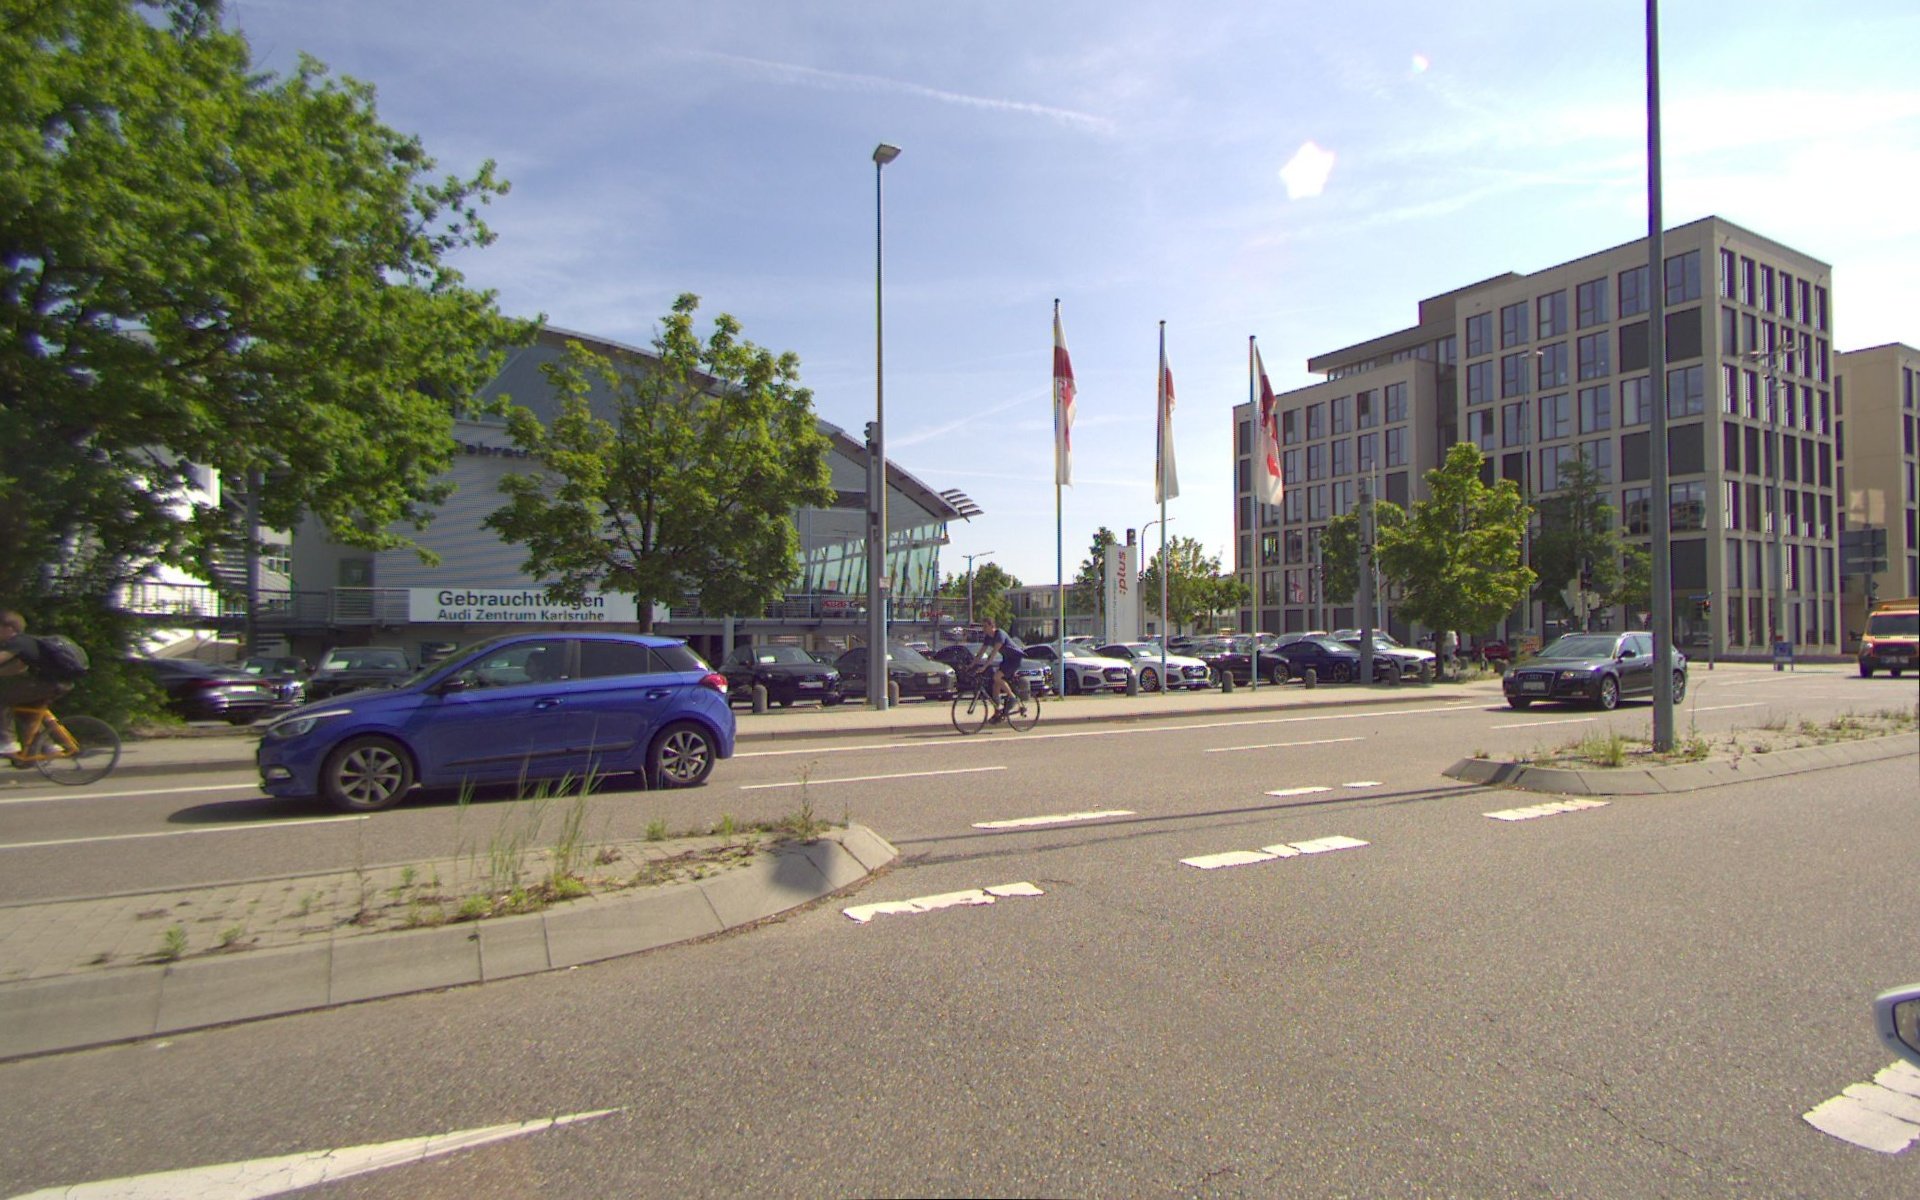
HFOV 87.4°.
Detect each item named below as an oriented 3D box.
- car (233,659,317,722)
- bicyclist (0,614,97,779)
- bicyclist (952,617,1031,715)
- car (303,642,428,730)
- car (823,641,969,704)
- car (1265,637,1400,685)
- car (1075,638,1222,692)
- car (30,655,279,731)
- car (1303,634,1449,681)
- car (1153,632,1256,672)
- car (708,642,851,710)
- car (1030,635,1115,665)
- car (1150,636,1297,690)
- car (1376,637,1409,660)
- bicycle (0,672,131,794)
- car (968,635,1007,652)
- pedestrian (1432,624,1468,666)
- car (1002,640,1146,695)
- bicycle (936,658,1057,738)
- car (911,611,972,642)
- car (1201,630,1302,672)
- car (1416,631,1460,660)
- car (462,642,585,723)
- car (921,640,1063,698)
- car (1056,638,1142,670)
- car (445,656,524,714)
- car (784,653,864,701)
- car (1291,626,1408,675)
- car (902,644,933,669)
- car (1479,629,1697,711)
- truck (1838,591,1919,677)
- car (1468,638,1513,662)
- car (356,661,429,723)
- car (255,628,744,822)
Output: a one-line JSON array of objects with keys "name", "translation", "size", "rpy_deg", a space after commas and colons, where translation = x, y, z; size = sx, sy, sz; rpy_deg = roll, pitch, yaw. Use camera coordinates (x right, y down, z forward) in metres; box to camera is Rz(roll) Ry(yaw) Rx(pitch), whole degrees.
[{"name": "car", "translation": [-18.276, 2.360, 26.929], "size": [1.671, 1.456, 3.797], "rpy_deg": [1, -2, -32]}, {"name": "bicyclist", "translation": [-9.441, 0.966, 10.194], "size": [0.899, 1.617, 0.574], "rpy_deg": [1, -3, -28]}, {"name": "bicyclist", "translation": [0.500, 1.035, 15.960], "size": [1.129, 1.502, 0.568], "rpy_deg": [1, -2, -28]}, {"name": "car", "translation": [-10.992, 1.583, 18.631], "size": [1.788, 1.420, 4.006], "rpy_deg": [1, -5, -31]}, {"name": "car", "translation": [-1.642, 1.774, 24.218], "size": [1.833, 1.352, 4.157], "rpy_deg": [1, -5, -30]}, {"name": "car", "translation": [11.893, 1.921, 32.280], "size": [1.744, 1.421, 3.815], "rpy_deg": [1, -3, -31]}, {"name": "car", "translation": [5.209, 1.864, 28.251], "size": [1.856, 1.387, 4.055], "rpy_deg": [1, -5, -30]}, {"name": "car", "translation": [-15.739, 1.803, 19.719], "size": [3.762, 1.350, 1.691], "rpy_deg": [-1, -2, 8]}, {"name": "car", "translation": [13.884, 1.901, 33.772], "size": [1.876, 1.451, 4.357], "rpy_deg": [1, -3, -28]}, {"name": "car", "translation": [11.340, 2.383, 46.443], "size": [4.722, 1.525, 1.779], "rpy_deg": [-2, -1, -31]}, {"name": "car", "translation": [-4.191, 1.734, 22.771], "size": [1.809, 1.372, 4.261], "rpy_deg": [1, -5, -31]}, {"name": "car", "translation": [6.291, 2.791, 56.040], "size": [4.506, 1.461, 1.779], "rpy_deg": [-1, -2, -31]}, {"name": "car", "translation": [8.070, 1.876, 30.723], "size": [4.373, 1.515, 1.789], "rpy_deg": [1, -2, -30]}, {"name": "car", "translation": [29.555, 3.300, 68.759], "size": [1.772, 1.533, 4.000], "rpy_deg": [-1, -2, 19]}, {"name": "bicycle", "translation": [-9.555, 1.334, 10.117], "size": [1.747, 1.165, 0.569], "rpy_deg": [1, -3, -28]}, {"name": "car", "translation": [3.162, 5.077, 116.676], "size": [4.189, 1.965, 1.885], "rpy_deg": [1, -2, -30]}, {"name": "pedestrian", "translation": [20.738, 1.894, 42.509], "size": [0.906, 1.772, 0.996], "rpy_deg": [1, -2, -30]}, {"name": "car", "translation": [2.962, 1.838, 26.923], "size": [1.846, 1.336, 3.971], "rpy_deg": [1, -5, -30]}, {"name": "bicycle", "translation": [0.592, 1.535, 15.987], "size": [1.900, 1.165, 0.569], "rpy_deg": [1, -2, -28]}, {"name": "car", "translation": [-1.301, 1.798, 67.874], "size": [2.066, 1.932, 4.509], "rpy_deg": [5, -4, -31]}, {"name": "car", "translation": [12.928, 2.232, 44.452], "size": [4.325, 1.564, 1.779], "rpy_deg": [-2, -1, -31]}, {"name": "car", "translation": [31.388, 2.959, 66.070], "size": [1.860, 1.845, 4.816], "rpy_deg": [-1, -2, 16]}, {"name": "car", "translation": [-8.732, 1.636, 19.911], "size": [1.781, 1.412, 4.198], "rpy_deg": [1, -5, -30]}, {"name": "car", "translation": [0.712, 1.775, 25.436], "size": [1.815, 1.336, 3.972], "rpy_deg": [1, -5, -29]}, {"name": "car", "translation": [7.416, 2.867, 53.561], "size": [4.351, 1.461, 1.779], "rpy_deg": [-2, -1, -31]}, {"name": "car", "translation": [-13.965, 2.428, 29.399], "size": [1.783, 1.492, 3.800], "rpy_deg": [1, -2, -30]}, {"name": "car", "translation": [-4.719, 2.597, 34.531], "size": [1.506, 1.492, 3.491], "rpy_deg": [1, -2, -31]}, {"name": "car", "translation": [15.332, 1.952, 39.530], "size": [4.540, 1.635, 1.806], "rpy_deg": [-2, -1, -30]}, {"name": "car", "translation": [-2.550, 3.389, 60.625], "size": [1.762, 1.461, 4.028], "rpy_deg": [0, -2, -1]}, {"name": "car", "translation": [12.692, 1.372, 20.235], "size": [4.612, 1.478, 1.837], "rpy_deg": [1, -4, -32]}, {"name": "truck", "translation": [31.894, 1.144, 33.690], "size": [6.611, 2.659, 2.358], "rpy_deg": [1, -3, -37]}, {"name": "car", "translation": [33.182, 3.107, 62.930], "size": [1.772, 1.434, 4.031], "rpy_deg": [-1, -2, 18]}, {"name": "car", "translation": [-15.969, 2.518, 28.182], "size": [1.671, 1.492, 3.798], "rpy_deg": [1, -2, -31]}, {"name": "car", "translation": [-4.145, 1.025, 9.367], "size": [3.826, 1.457, 1.720], "rpy_deg": [1, -4, -32]}]
